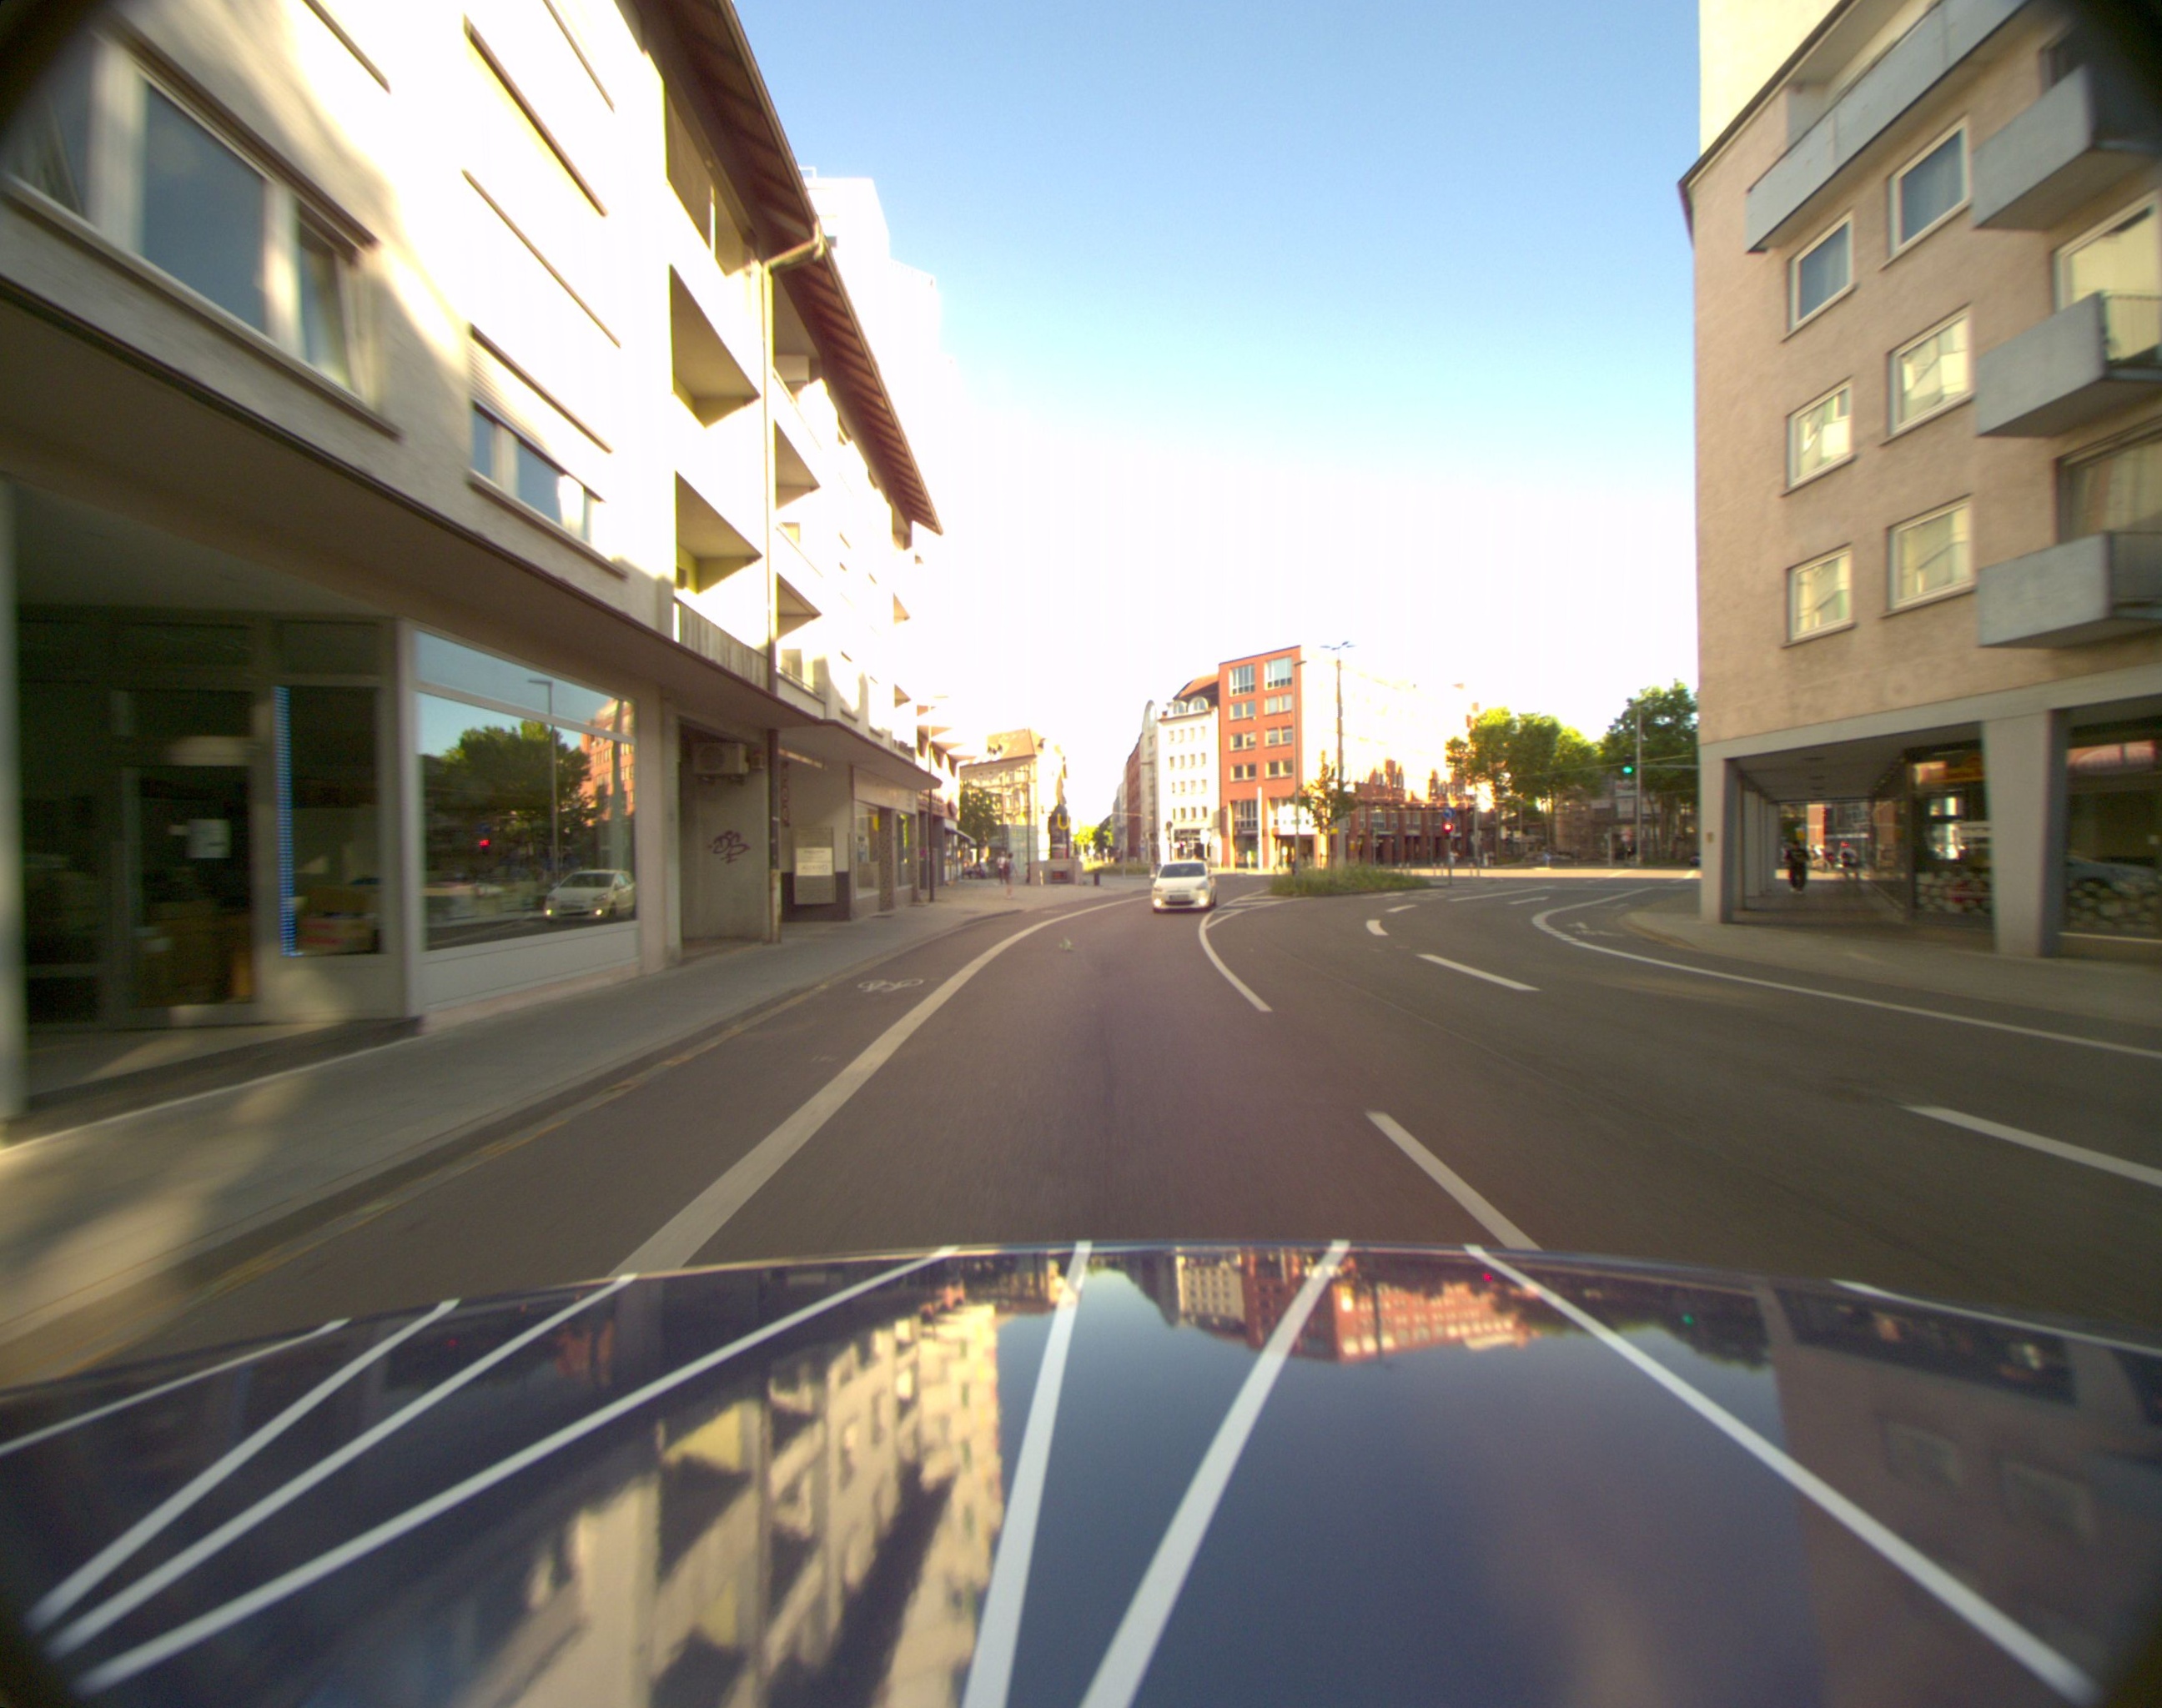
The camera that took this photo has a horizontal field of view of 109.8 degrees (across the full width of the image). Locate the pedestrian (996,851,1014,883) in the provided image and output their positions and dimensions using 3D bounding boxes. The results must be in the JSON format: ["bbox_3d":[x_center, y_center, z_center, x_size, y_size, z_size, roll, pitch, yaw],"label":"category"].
[{"bbox_3d":[-4.329,0.722,43.292,0.709,1.809,0.705,1,1,-43],"label":"pedestrian"}]

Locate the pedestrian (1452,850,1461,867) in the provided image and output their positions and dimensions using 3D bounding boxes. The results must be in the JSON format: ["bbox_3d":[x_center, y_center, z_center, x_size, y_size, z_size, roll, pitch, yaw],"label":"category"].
[{"bbox_3d":[38.300,0.448,77.513,0.553,1.737,0.716,-2,2,44],"label":"pedestrian"}]

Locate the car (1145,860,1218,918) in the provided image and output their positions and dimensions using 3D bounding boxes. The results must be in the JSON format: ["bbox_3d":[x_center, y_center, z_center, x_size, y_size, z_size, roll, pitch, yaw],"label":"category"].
[{"bbox_3d":[3.055,0.981,22.526,1.681,1.490,3.688,-1,1,14],"label":"car"}]

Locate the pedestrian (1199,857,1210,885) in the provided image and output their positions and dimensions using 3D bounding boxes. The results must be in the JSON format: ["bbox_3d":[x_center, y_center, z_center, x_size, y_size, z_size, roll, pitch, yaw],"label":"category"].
[{"bbox_3d":[7.726,1.046,47.574,0.593,1.737,0.502,-3,1,8],"label":"pedestrian"}]

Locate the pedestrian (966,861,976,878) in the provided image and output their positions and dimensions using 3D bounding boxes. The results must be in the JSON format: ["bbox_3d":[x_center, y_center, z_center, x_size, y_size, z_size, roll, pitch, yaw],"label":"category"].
[{"bbox_3d":[-7.987,1.120,55.268,0.708,1.235,0.765,1,1,-9],"label":"pedestrian"}]

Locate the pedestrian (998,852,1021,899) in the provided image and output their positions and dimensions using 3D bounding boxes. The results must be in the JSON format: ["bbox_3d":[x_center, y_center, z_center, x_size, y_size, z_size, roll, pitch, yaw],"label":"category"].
[{"bbox_3d":[-2.852,0.848,30.376,0.706,1.809,0.708,2,1,11],"label":"pedestrian"}]

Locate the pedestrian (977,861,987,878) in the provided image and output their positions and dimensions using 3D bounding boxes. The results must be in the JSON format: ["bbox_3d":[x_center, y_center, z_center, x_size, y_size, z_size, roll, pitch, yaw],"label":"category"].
[{"bbox_3d":[-7.227,1.134,55.391,0.707,1.225,0.770,1,1,-9],"label":"pedestrian"}]

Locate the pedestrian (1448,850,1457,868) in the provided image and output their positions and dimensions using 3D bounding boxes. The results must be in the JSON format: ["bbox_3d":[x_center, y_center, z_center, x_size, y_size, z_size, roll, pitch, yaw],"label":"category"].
[{"bbox_3d":[37.654,0.486,77.012,0.553,1.737,0.716,-2,2,44],"label":"pedestrian"}]

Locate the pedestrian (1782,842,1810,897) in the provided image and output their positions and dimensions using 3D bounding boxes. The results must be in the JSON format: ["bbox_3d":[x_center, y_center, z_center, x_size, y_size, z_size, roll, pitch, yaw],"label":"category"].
[{"bbox_3d":[23.458,0.511,24.933,0.531,1.762,0.610,-4,2,-43],"label":"pedestrian"}]
